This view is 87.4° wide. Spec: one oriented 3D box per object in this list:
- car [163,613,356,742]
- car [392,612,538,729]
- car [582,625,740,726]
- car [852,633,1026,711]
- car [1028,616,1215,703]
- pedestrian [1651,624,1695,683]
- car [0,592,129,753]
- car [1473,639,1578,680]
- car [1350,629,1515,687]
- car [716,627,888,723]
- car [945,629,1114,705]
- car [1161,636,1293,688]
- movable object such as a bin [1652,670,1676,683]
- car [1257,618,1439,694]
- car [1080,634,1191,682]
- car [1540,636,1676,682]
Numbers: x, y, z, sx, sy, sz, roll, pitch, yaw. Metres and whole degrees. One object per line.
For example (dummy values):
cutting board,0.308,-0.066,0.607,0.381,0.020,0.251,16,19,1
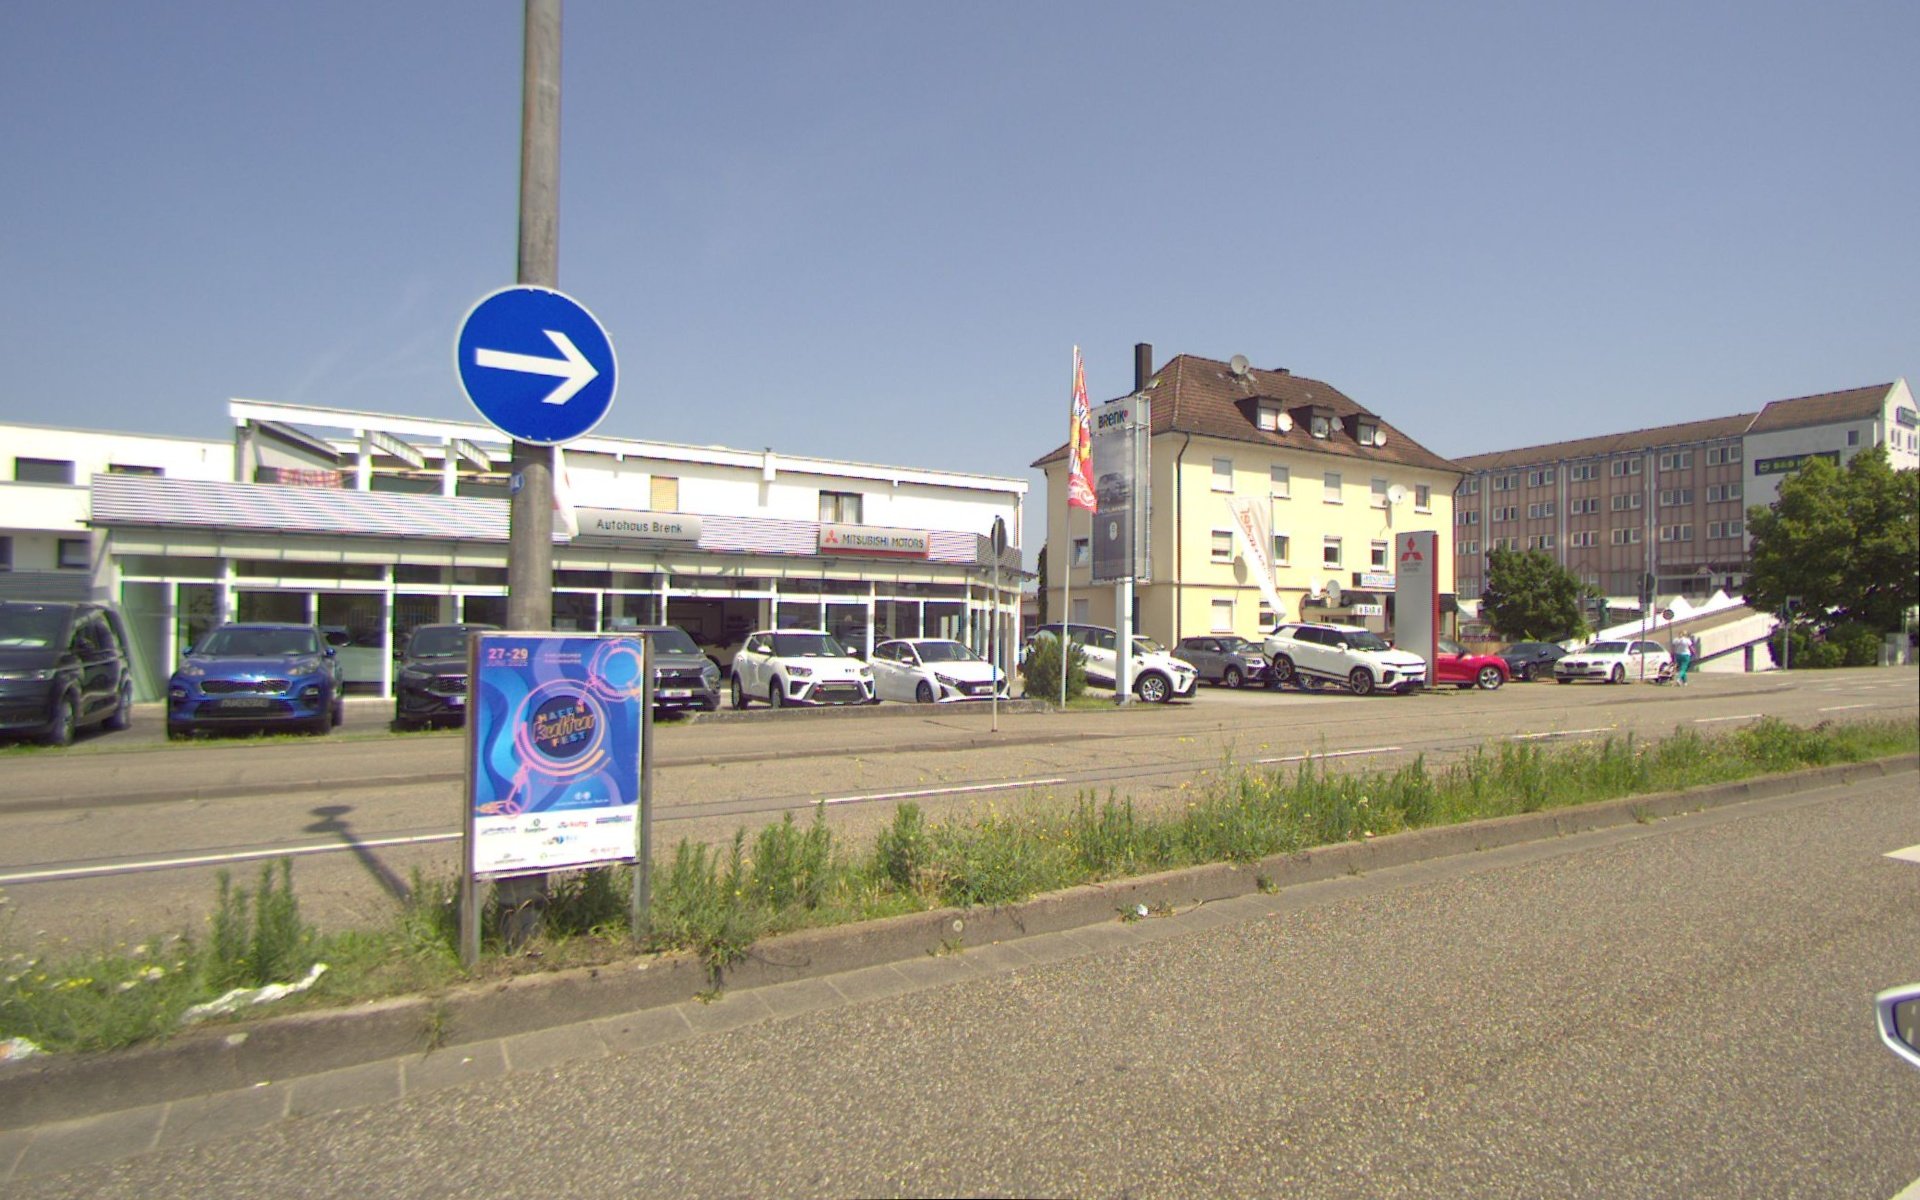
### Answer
car,-10.215,1.070,14.932,2.066,1.629,3.966,1,-3,-32
car,-8.065,1.128,16.192,1.740,1.629,3.967,1,-4,-32
car,-5.448,1.256,17.986,1.740,1.588,3.966,1,-2,-32
car,-0.527,1.397,20.699,1.839,1.413,3.966,1,-2,-32
car,3.767,1.346,23.416,3.923,1.645,1.759,4,-1,23
pedestrian,21.898,1.625,30.836,1.021,1.770,0.737,1,-2,-30
car,-12.677,0.895,13.329,1.978,1.906,3.966,1,-2,-32
car,20.428,2.122,36.234,3.958,1.369,1.722,1,-2,-34
car,14.078,1.709,30.117,4.093,1.664,1.841,0,-2,7
car,-3.141,1.352,19.381,1.904,1.629,3.966,1,-2,-32
car,1.417,1.387,21.994,1.740,1.486,3.966,1,-2,-32
car,8.463,1.930,32.131,1.844,1.550,3.967,1,-2,-31
movable object such as a bin,21.458,2.324,30.607,0.500,0.377,0.414,1,-2,-30
car,10.583,1.465,27.720,1.740,1.732,4.521,1,1,-32
car,6.247,2.039,36.203,1.844,1.636,3.967,1,-2,-31
car,21.563,1.907,33.391,4.700,1.429,1.769,1,-2,-29
